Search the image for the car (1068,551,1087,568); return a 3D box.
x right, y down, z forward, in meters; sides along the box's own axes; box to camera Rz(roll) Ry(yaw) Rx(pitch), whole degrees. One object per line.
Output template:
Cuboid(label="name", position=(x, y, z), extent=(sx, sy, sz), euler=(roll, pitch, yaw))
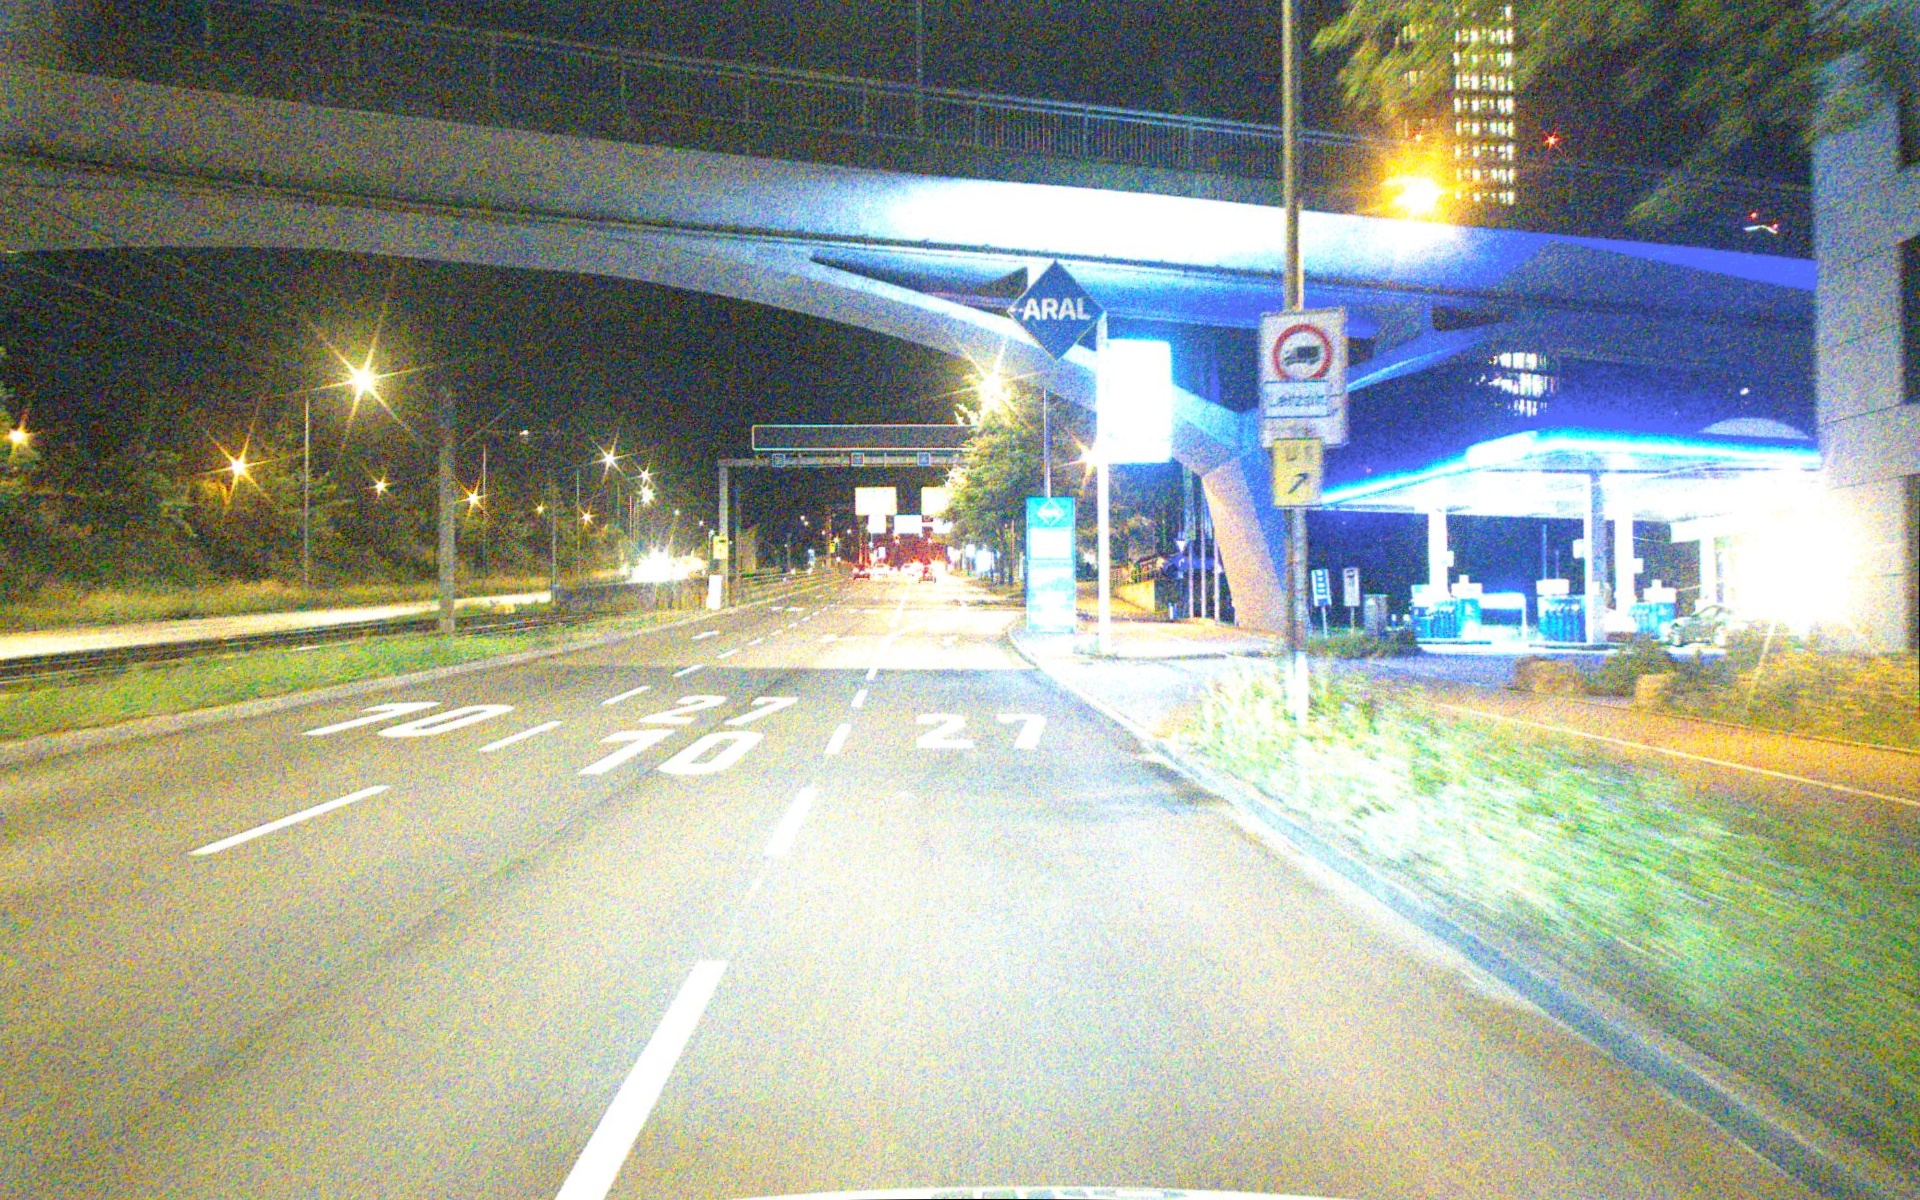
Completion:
Cuboid(label="car", position=(11.933, -4.115, 167.472), extent=(1.852, 1.538, 3.638), euler=(1, 0, 5))

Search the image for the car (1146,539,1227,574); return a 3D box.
Cuboid(label="car", position=(11.616, -2.227, 84.904), extent=(3.905, 1.598, 1.738), euler=(-2, 0, 0))

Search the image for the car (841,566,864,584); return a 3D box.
Cuboid(label="car", position=(-11.115, -2.616, 171.192), extent=(1.927, 1.741, 4.000), euler=(1, 0, 1))

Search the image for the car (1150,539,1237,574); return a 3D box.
Cuboid(label="car", position=(11.626, -2.174, 82.553), extent=(4.035, 1.549, 1.822), euler=(-2, -1, 0))

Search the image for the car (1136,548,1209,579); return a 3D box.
Cuboid(label="car", position=(11.506, -1.991, 89.755), extent=(3.651, 1.515, 1.741), euler=(-2, 0, -3))

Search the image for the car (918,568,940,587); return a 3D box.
Cuboid(label="car", position=(-3.024, -2.230, 162.455), extent=(1.927, 1.741, 4.000), euler=(1, 0, 1))

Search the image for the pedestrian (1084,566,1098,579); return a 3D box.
Cuboid(label="pedestrian", position=(10.899, -2.266, 138.027), extent=(0.897, 1.056, 0.767), euler=(0, 0, 42))

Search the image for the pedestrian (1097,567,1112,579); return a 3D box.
Cuboid(label="pedestrian", position=(12.046, -2.248, 138.034), extent=(0.982, 1.025, 0.768), euler=(1, 0, -17))

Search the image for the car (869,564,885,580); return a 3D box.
Cuboid(label="car", position=(-9.786, -3.340, 195.620), extent=(1.747, 1.741, 3.996), euler=(1, 0, -4))

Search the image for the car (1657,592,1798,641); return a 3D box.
Cuboid(label="car", position=(22.535, 0.470, 48.754), extent=(1.889, 1.387, 4.330), euler=(0, 0, -5))

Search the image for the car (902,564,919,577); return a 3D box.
Cuboid(label="car", position=(-6.402, -3.812, 215.416), extent=(1.963, 1.579, 4.295), euler=(1, 0, 1))
